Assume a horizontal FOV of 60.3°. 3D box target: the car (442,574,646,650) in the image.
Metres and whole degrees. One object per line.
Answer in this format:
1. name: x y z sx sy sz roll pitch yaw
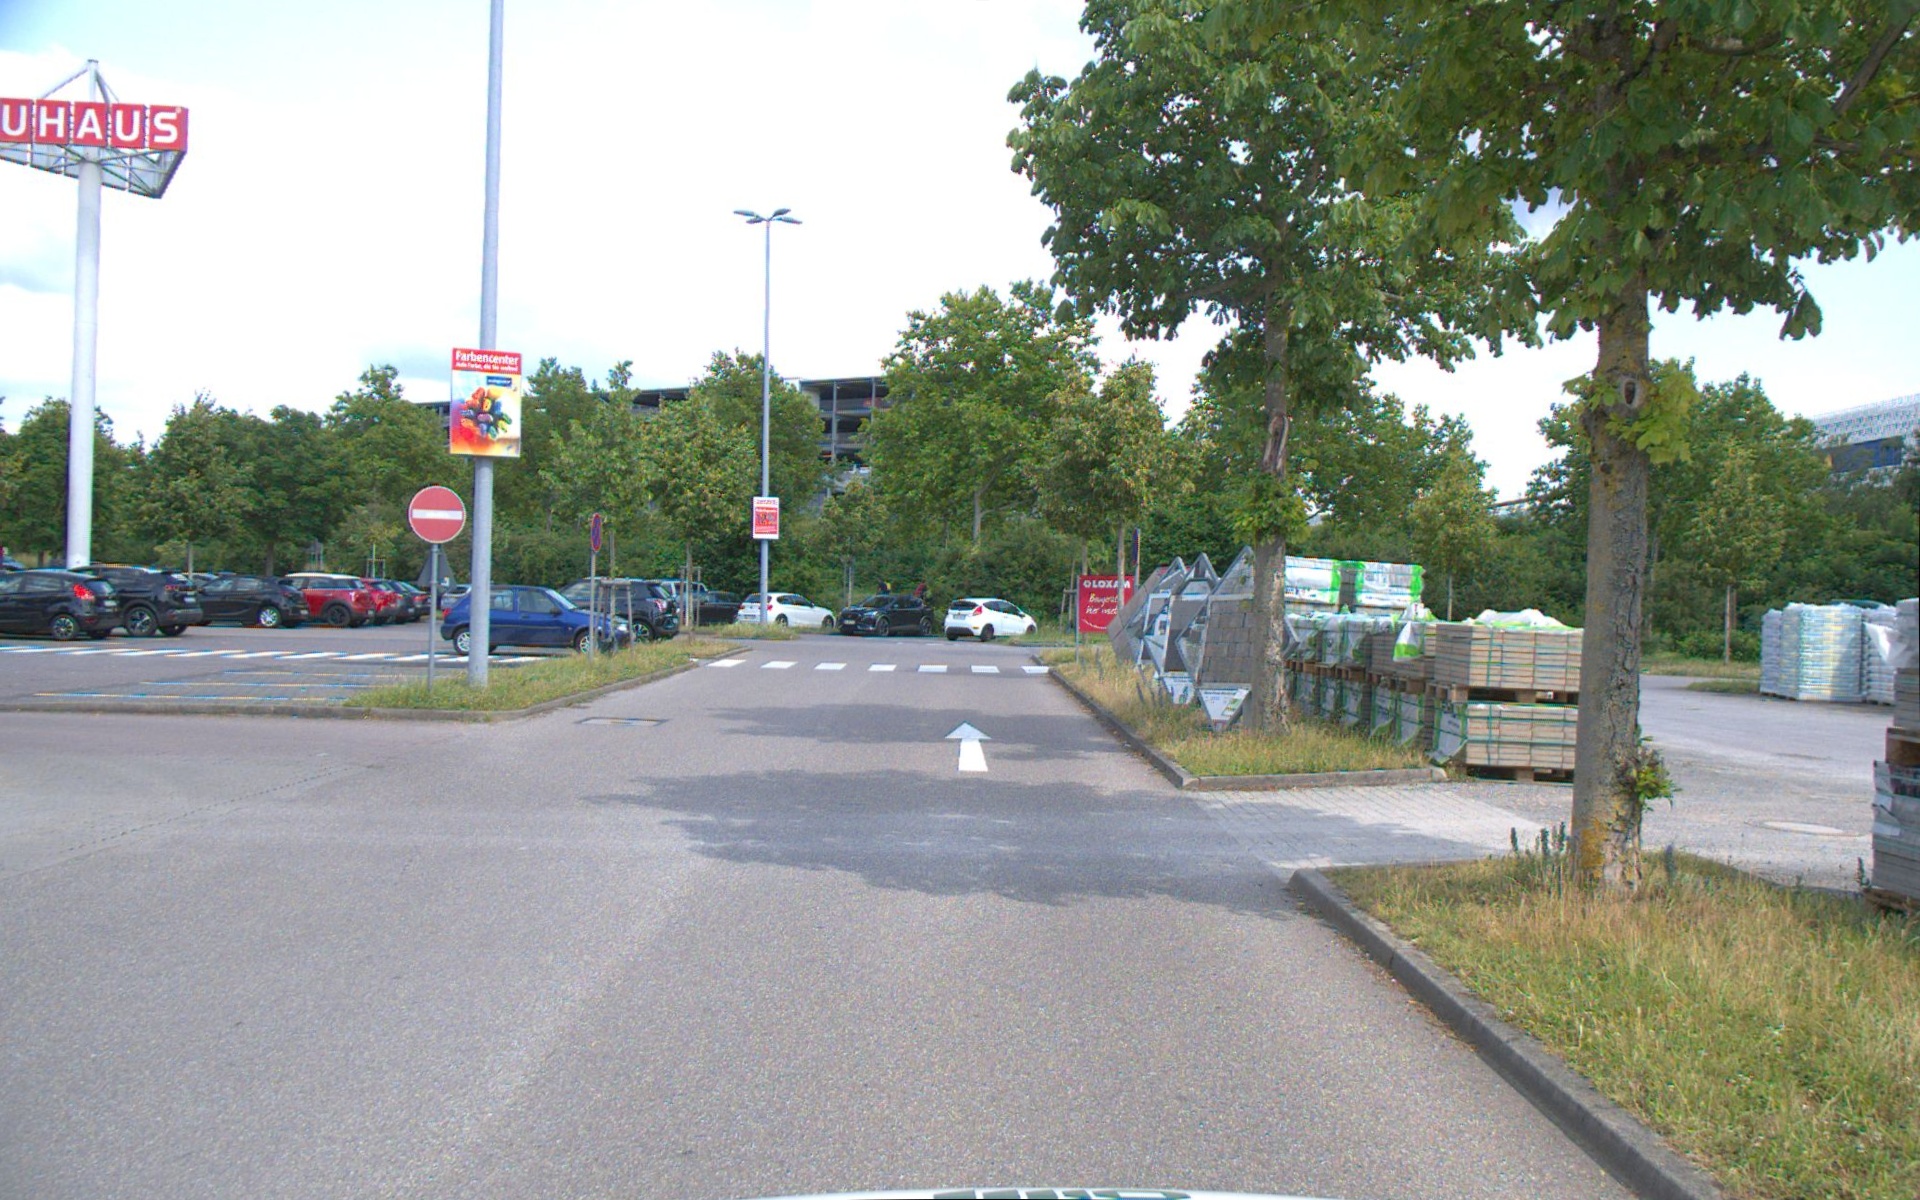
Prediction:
1. car: -8.325 0.234 33.314 3.674 1.392 1.621 2 0 -1

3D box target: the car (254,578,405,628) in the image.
1. car: -19.582 0.089 51.514 3.993 1.423 1.766 1 0 -3

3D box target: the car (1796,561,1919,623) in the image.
1. car: 31.848 -0.288 58.263 3.925 2.049 1.990 2 0 39

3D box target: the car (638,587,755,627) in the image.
1. car: -10.329 0.280 65.164 1.802 1.476 4.708 2 0 35

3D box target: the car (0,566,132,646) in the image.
1. car: -20.233 0.107 35.868 3.623 1.653 1.781 1 0 -6

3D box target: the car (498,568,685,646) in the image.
1. car: -8.455 0.158 38.184 3.868 1.653 1.736 1 0 1

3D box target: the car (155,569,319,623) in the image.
1. car: -20.216 -0.115 46.347 3.793 1.393 1.728 1 0 -2

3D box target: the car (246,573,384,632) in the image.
1. car: -19.046 0.065 48.941 3.367 1.609 1.709 1 0 -3

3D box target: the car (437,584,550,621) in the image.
1. car: -19.940 0.126 70.875 1.747 1.531 4.641 2 0 33

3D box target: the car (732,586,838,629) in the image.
1. car: -6.546 0.292 62.169 1.657 1.536 4.065 0 -1 37

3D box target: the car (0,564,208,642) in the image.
1. car: -19.759 0.058 38.135 3.989 1.653 1.783 1 0 -2

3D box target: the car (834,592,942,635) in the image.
1. car: -2.556 0.495 59.597 1.698 1.435 4.229 2 0 34

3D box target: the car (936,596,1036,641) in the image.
1. car: 0.923 0.635 56.766 1.638 1.436 3.541 2 0 38
